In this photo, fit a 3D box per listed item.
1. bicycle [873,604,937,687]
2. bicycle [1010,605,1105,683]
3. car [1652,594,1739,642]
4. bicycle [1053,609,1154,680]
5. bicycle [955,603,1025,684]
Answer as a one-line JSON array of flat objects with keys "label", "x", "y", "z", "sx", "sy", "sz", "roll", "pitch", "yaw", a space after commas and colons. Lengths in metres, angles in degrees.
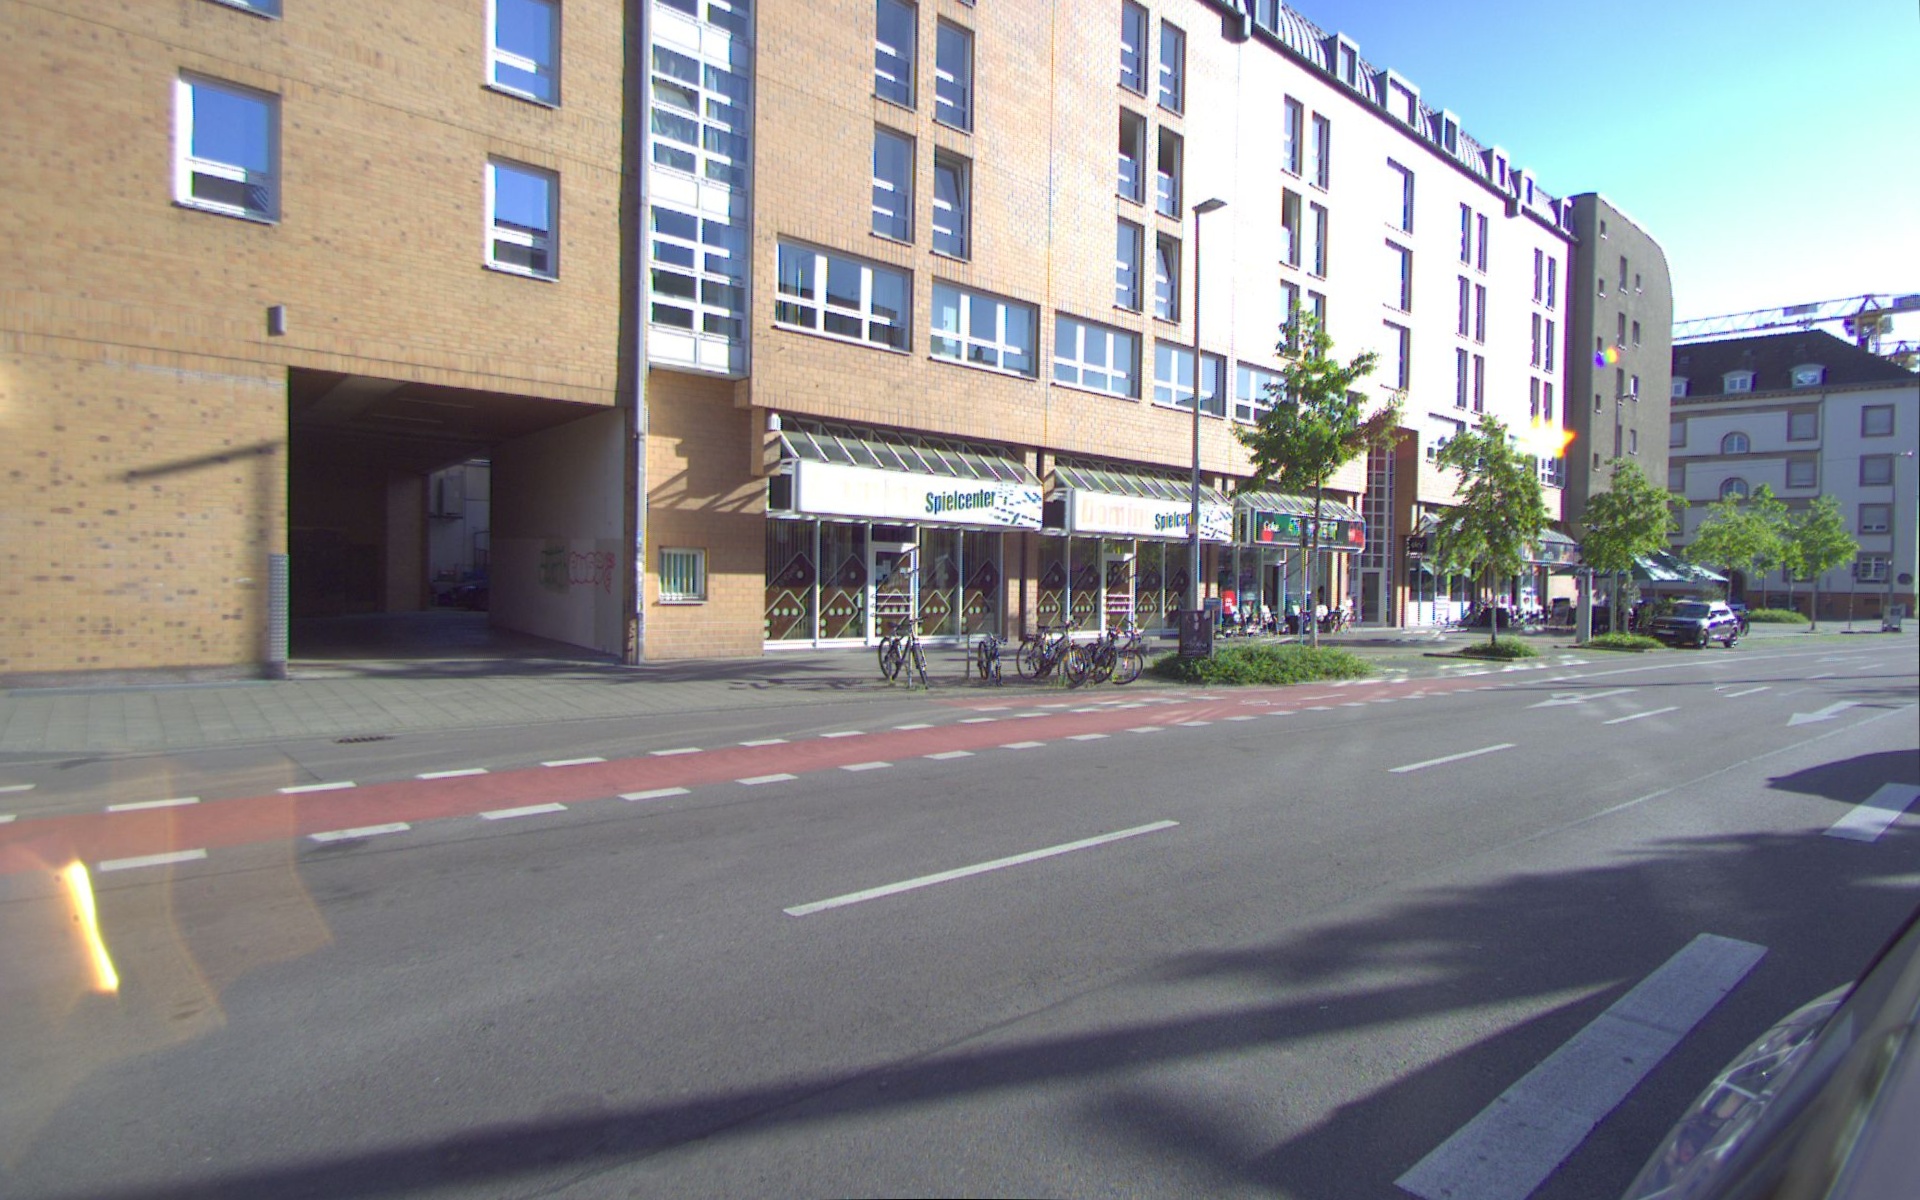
[{"label": "bicycle", "x": -0.904, "y": 0.691, "z": 16.302, "sx": 0.541, "sy": 1.162, "sz": 1.780, "roll": 0, "pitch": 3, "yaw": -20}, {"label": "bicycle", "x": 1.640, "y": 0.721, "z": 17.263, "sx": 0.543, "sy": 1.155, "sz": 1.775, "roll": -1, "pitch": 3, "yaw": -37}, {"label": "car", "x": 25.752, "y": 0.588, "z": 35.395, "sx": 3.628, "sy": 1.549, "sz": 1.654, "roll": -1, "pitch": 0, "yaw": -40}, {"label": "bicycle", "x": 2.531, "y": 0.765, "z": 18.027, "sx": 0.724, "sy": 1.084, "sz": 1.775, "roll": -1, "pitch": 3, "yaw": -37}, {"label": "bicycle", "x": 0.463, "y": 0.679, "z": 16.772, "sx": 0.541, "sy": 1.162, "sz": 1.780, "roll": 0, "pitch": 3, "yaw": -20}]
